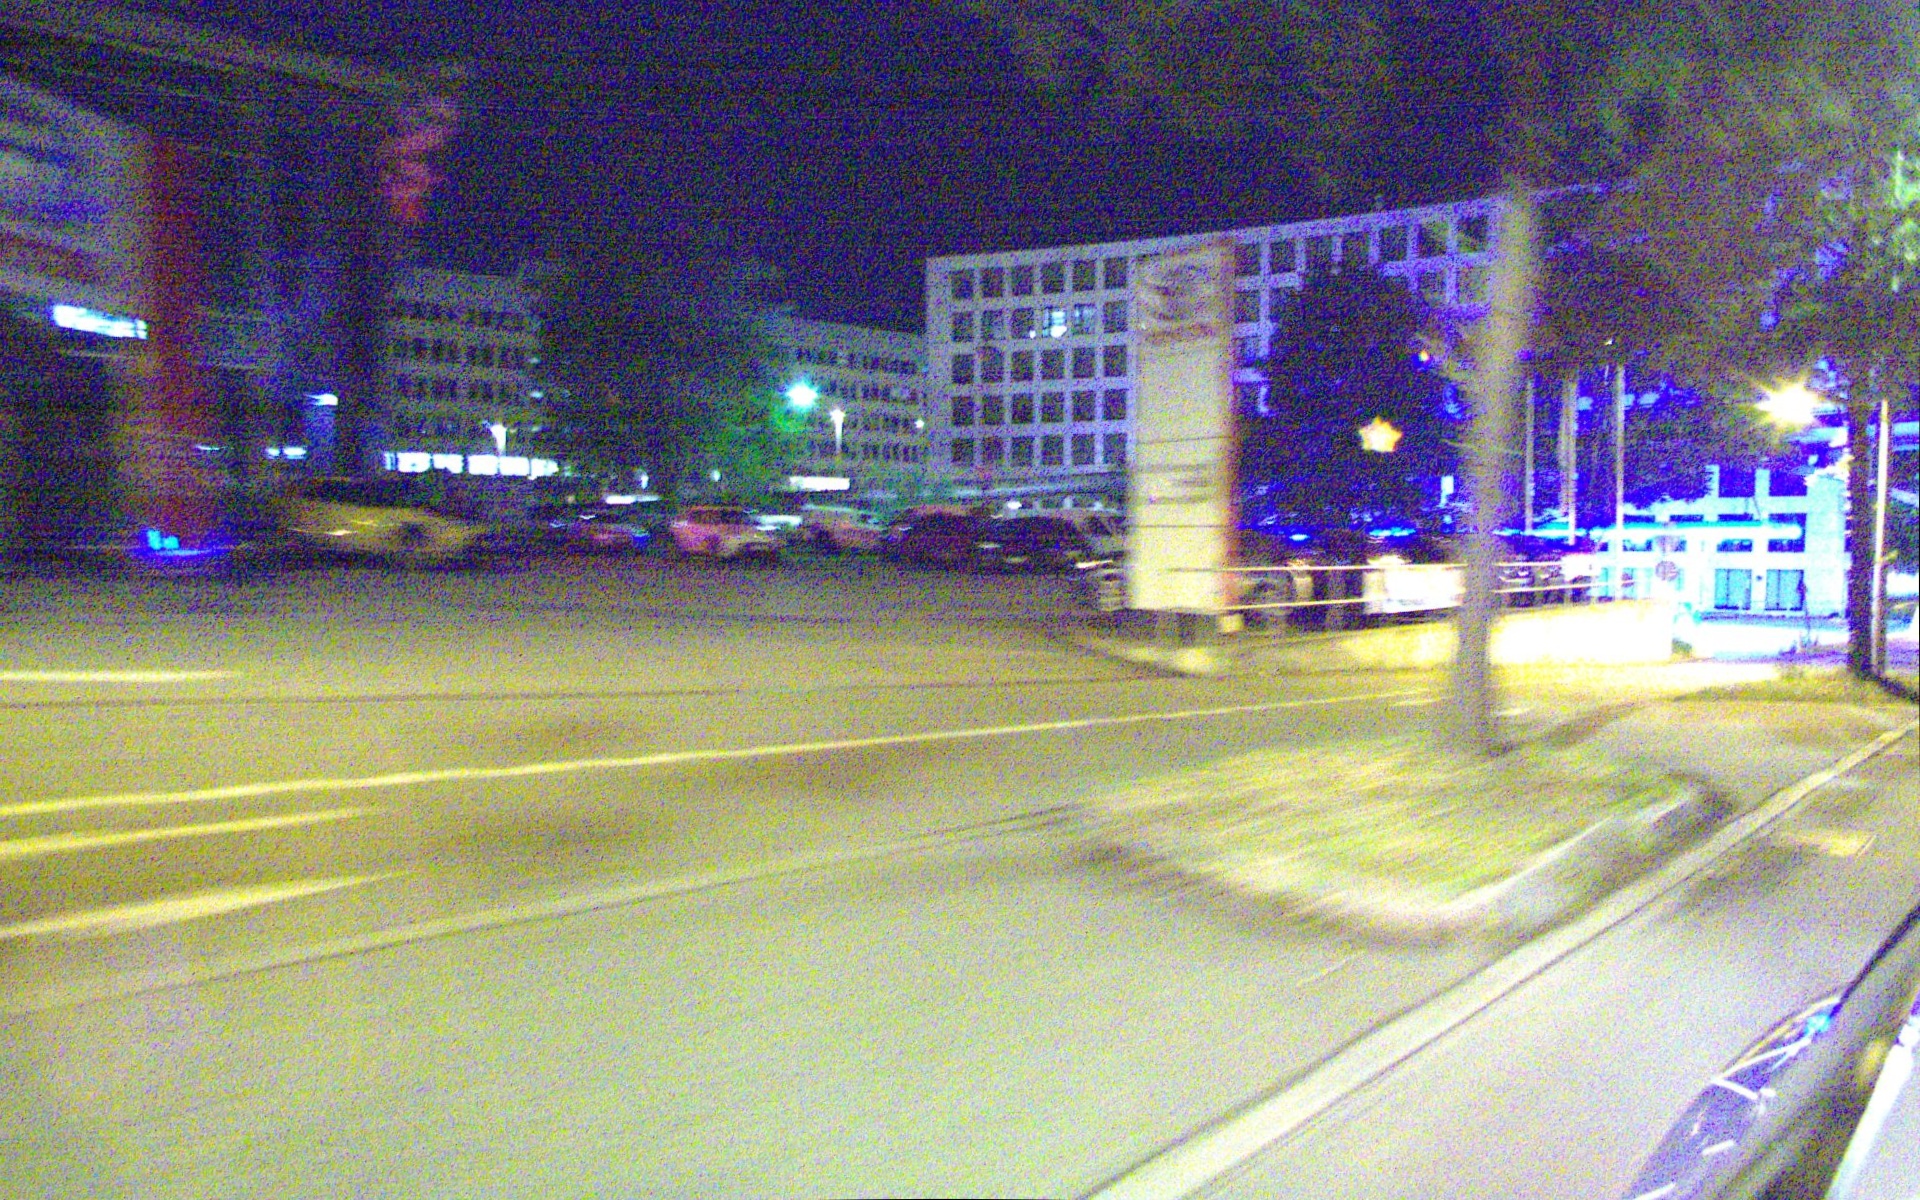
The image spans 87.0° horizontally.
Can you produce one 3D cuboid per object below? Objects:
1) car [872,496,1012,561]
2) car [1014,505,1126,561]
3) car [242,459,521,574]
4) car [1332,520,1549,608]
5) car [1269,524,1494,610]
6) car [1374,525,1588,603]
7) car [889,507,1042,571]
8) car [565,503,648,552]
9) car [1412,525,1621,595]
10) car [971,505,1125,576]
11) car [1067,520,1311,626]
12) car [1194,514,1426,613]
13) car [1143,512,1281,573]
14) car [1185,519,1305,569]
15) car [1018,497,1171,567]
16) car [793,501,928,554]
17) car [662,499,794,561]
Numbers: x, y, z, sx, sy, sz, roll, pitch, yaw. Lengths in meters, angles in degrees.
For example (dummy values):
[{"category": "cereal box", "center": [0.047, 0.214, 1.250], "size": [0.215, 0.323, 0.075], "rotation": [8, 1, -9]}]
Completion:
[{"category": "car", "center": [-0.642, -2.293, 32.605], "size": [1.966, 1.933, 4.584], "rotation": [-2, 4, -42]}, {"category": "car", "center": [3.928, -2.434, 36.713], "size": [1.723, 1.918, 3.815], "rotation": [-2, 5, -43]}, {"category": "car", "center": [-9.576, -1.410, 16.920], "size": [3.718, 1.544, 1.734], "rotation": [5, 5, 5]}, {"category": "car", "center": [10.192, -0.846, 21.673], "size": [1.750, 1.605, 3.756], "rotation": [-2, 6, -41]}, {"category": "car", "center": [8.270, -0.726, 20.088], "size": [1.712, 1.506, 3.732], "rotation": [-2, 5, -41]}, {"category": "car", "center": [11.910, -0.891, 23.351], "size": [1.707, 1.590, 3.999], "rotation": [-2, 5, -38]}, {"category": "car", "center": [0.076, -1.592, 25.747], "size": [1.738, 1.449, 3.881], "rotation": [-2, 6, -41]}, {"category": "car", "center": [-12.393, -2.570, 35.360], "size": [1.772, 1.586, 4.004], "rotation": [-2, 6, -34]}, {"category": "car", "center": [13.594, -1.047, 24.931], "size": [1.790, 1.540, 4.131], "rotation": [-2, 5, -38]}, {"category": "car", "center": [2.267, -1.616, 26.973], "size": [1.787, 1.709, 3.999], "rotation": [-2, 5, -39]}, {"category": "car", "center": [3.866, -0.533, 17.032], "size": [3.795, 1.507, 1.731], "rotation": [3, 5, 20]}, {"category": "car", "center": [6.277, -0.726, 18.403], "size": [1.698, 1.588, 3.566], "rotation": [-2, 5, -44]}, {"category": "car", "center": [8.004, -1.897, 32.477], "size": [1.803, 1.751, 4.002], "rotation": [-1, 6, -36]}, {"category": "car", "center": [9.589, -1.927, 34.304], "size": [1.606, 1.487, 3.656], "rotation": [-1, 6, -36]}, {"category": "car", "center": [3.743, -1.978, 28.896], "size": [1.719, 1.745, 4.376], "rotation": [-1, 6, -37]}, {"category": "car", "center": [-4.106, -2.988, 42.066], "size": [5.157, 1.994, 2.184], "rotation": [2, 3, 11]}, {"category": "car", "center": [-6.150, -1.837, 26.583], "size": [1.834, 1.508, 3.998], "rotation": [-2, 5, -39]}]
